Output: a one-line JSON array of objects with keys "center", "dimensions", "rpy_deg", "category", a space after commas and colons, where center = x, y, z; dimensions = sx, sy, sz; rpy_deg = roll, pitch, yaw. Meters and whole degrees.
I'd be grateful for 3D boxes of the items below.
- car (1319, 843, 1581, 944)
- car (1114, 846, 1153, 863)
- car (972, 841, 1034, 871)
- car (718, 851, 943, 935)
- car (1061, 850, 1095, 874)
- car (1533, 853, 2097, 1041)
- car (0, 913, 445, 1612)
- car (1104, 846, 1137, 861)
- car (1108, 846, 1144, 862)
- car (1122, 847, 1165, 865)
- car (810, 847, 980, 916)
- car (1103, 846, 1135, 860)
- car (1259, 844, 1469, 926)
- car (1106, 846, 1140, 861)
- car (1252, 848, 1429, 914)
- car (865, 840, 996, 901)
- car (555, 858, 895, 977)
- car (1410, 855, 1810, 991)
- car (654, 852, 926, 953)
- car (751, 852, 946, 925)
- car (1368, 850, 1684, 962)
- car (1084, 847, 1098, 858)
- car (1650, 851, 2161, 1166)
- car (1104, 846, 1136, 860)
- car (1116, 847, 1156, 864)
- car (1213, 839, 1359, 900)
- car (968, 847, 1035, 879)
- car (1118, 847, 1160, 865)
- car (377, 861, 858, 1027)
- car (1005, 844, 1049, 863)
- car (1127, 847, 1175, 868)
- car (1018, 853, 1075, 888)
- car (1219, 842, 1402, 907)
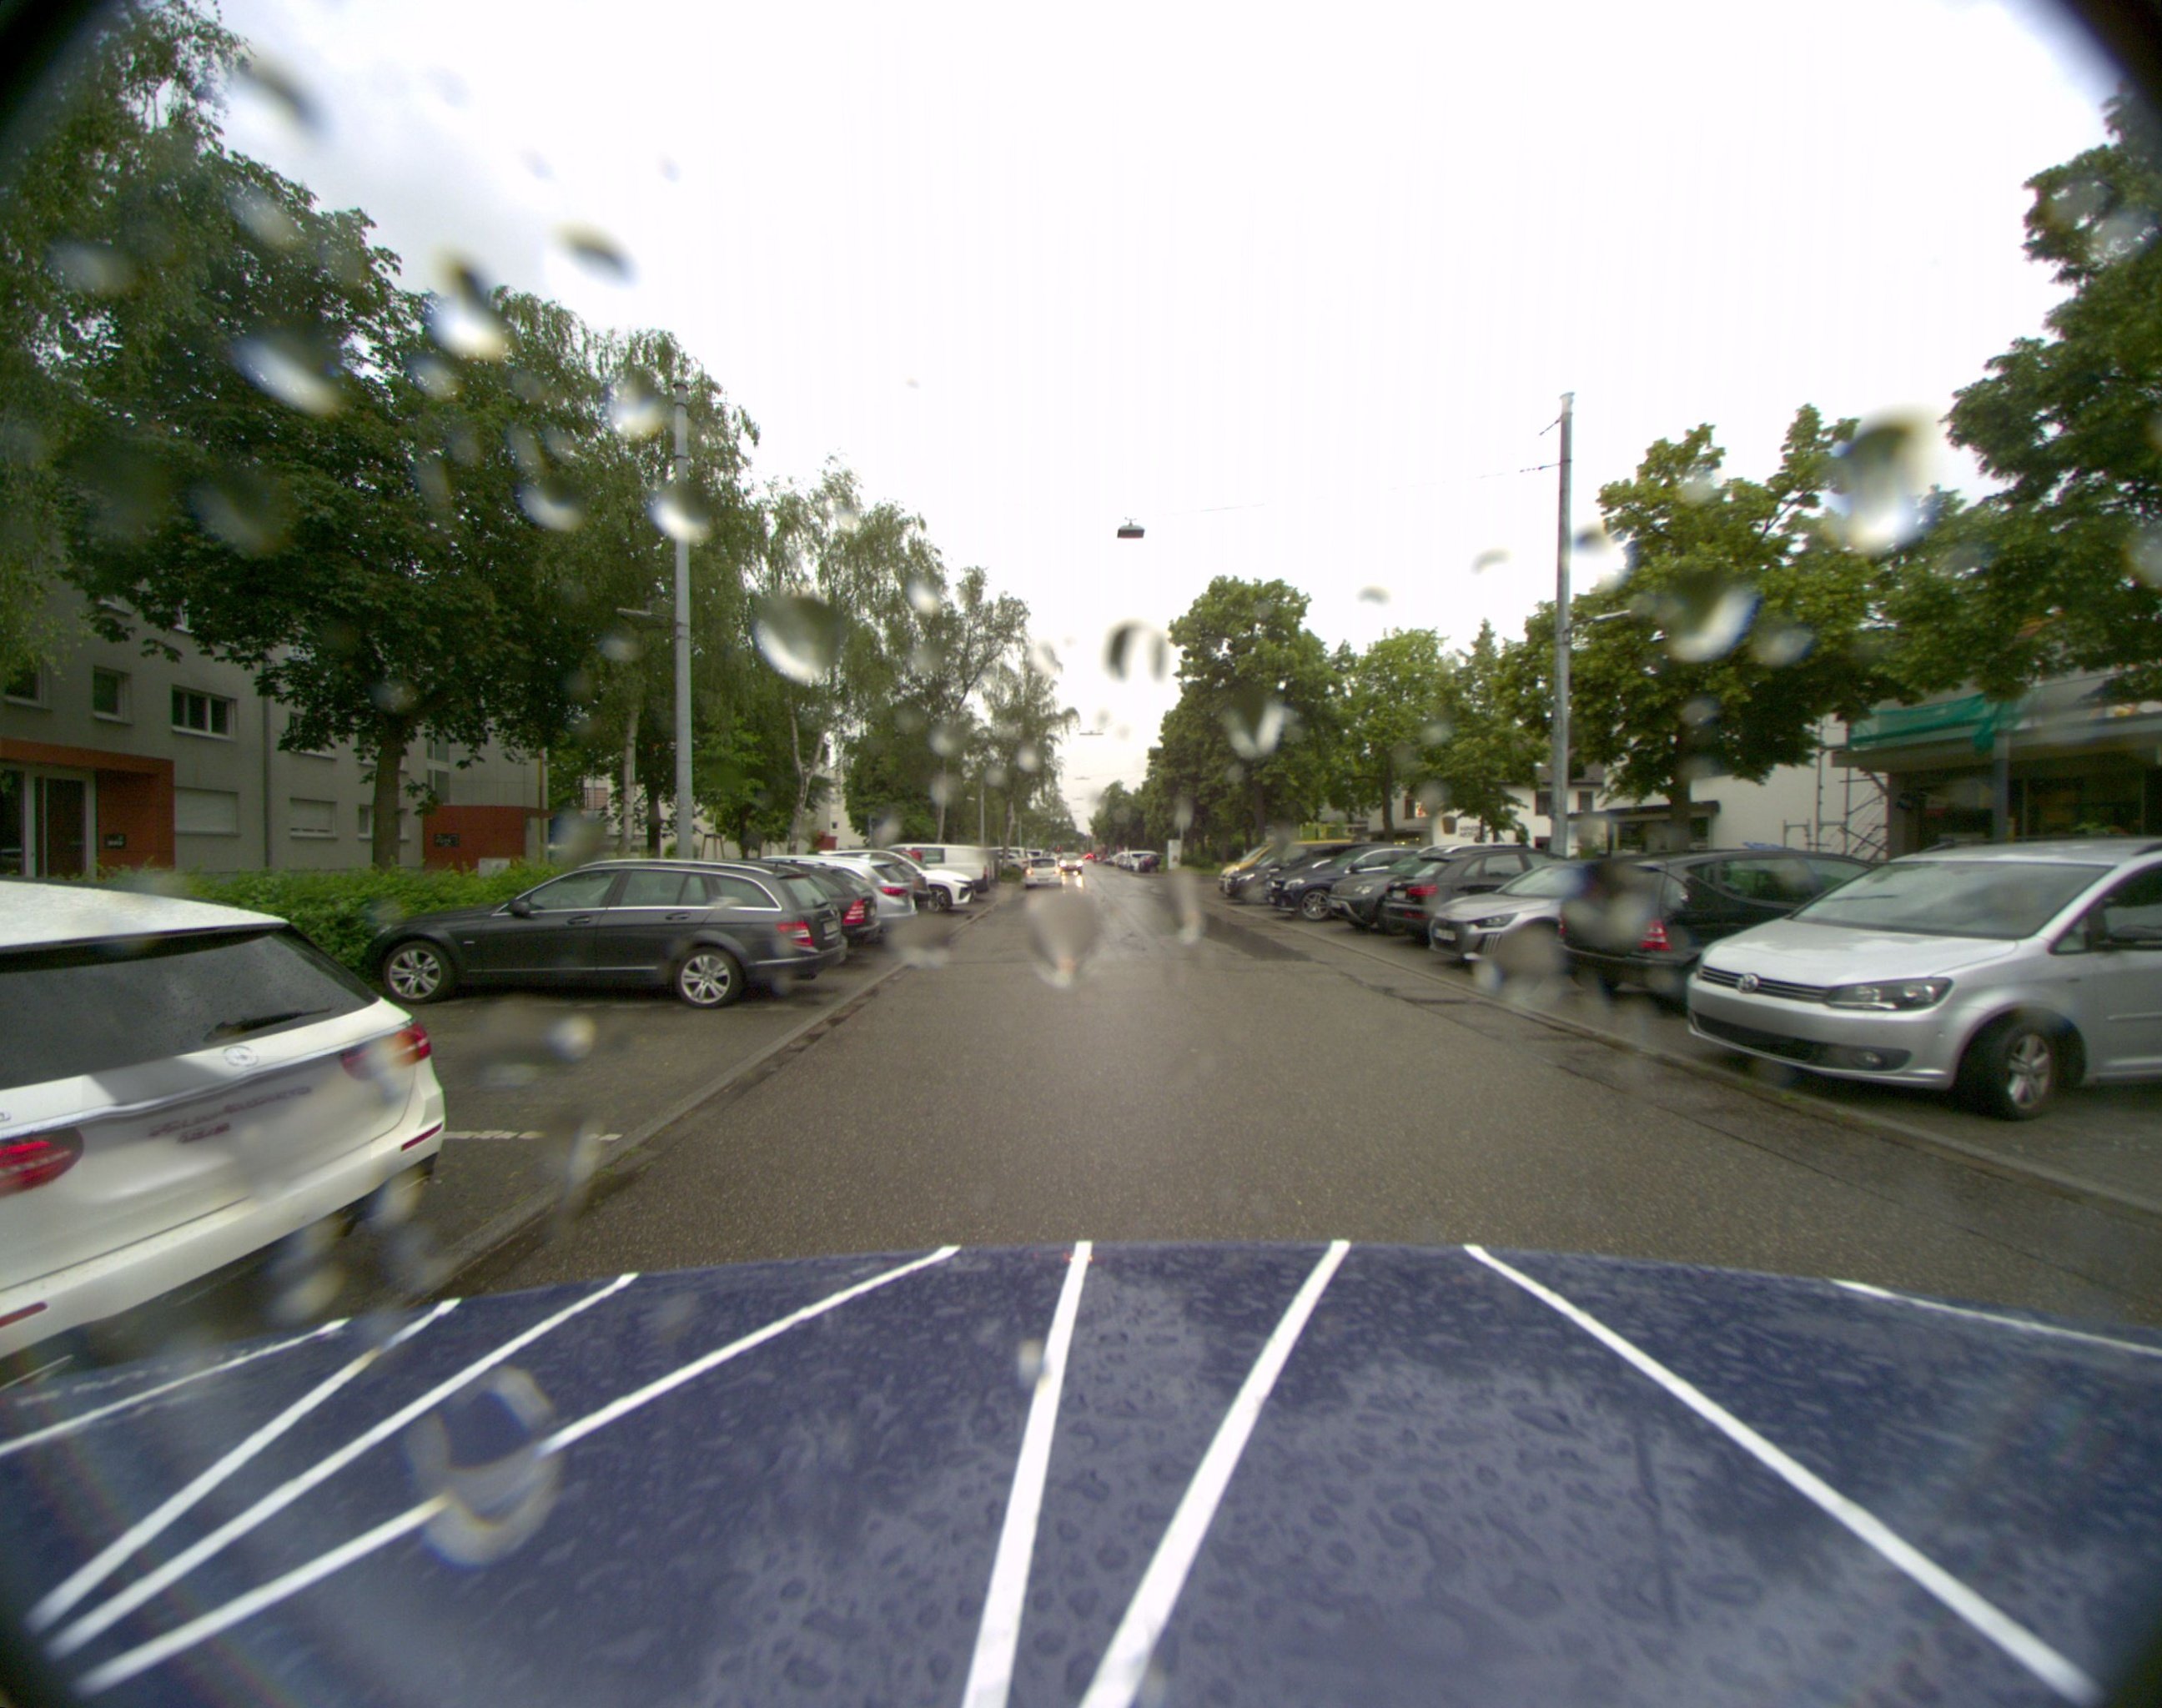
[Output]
[{"center": [7.079, 0.708, 14.842], "dimensions": [4.283, 1.717, 1.715], "rpy_deg": [-2, 1, -2], "category": "car"}, {"center": [5.785, 0.089, 83.750], "dimensions": [3.998, 1.675, 1.999], "rpy_deg": [-2, 1, -3], "category": "car"}, {"center": [-5.531, 0.131, 54.221], "dimensions": [3.995, 1.903, 1.902], "rpy_deg": [-2, 1, 4], "category": "car"}, {"center": [-5.021, 0.768, 15.643], "dimensions": [4.049, 1.488, 1.680], "rpy_deg": [2, 1, -3], "category": "car"}, {"center": [-0.176, 0.599, 59.395], "dimensions": [1.838, 1.677, 4.003], "rpy_deg": [-2, 1, 11], "category": "car"}, {"center": [7.247, 0.844, 7.779], "dimensions": [4.283, 1.556, 1.635], "rpy_deg": [-2, 1, -2], "category": "car"}, {"center": [-4.748, 0.927, 2.057], "dimensions": [4.623, 1.431, 1.680], "rpy_deg": [2, 1, 0], "category": "car"}, {"center": [5.027, -0.069, 96.935], "dimensions": [3.998, 1.675, 1.999], "rpy_deg": [-2, 1, -3], "category": "car"}, {"center": [5.335, 0.013, 90.307], "dimensions": [3.998, 1.675, 1.999], "rpy_deg": [-2, 1, -3], "category": "car"}, {"center": [6.213, 0.178, 76.060], "dimensions": [3.998, 1.675, 1.999], "rpy_deg": [-2, 1, -3], "category": "car"}, {"center": [-5.017, 0.708, 20.895], "dimensions": [4.179, 1.609, 1.680], "rpy_deg": [3, 1, 1], "category": "car"}, {"center": [4.970, -0.098, 99.168], "dimensions": [3.998, 1.675, 1.999], "rpy_deg": [-2, 1, -3], "category": "car"}, {"center": [6.573, 0.686, 17.938], "dimensions": [4.283, 1.717, 1.715], "rpy_deg": [-2, 1, -2], "category": "car"}, {"center": [5.218, -0.041, 94.413], "dimensions": [3.998, 1.675, 1.999], "rpy_deg": [-2, 1, -3], "category": "car"}, {"center": [7.116, 0.709, 21.090], "dimensions": [4.283, 1.617, 1.715], "rpy_deg": [-2, 1, -2], "category": "car"}, {"center": [-5.103, 0.543, 26.181], "dimensions": [4.182, 1.856, 1.679], "rpy_deg": [3, 1, -6], "category": "car"}, {"center": [-4.911, 0.858, 10.919], "dimensions": [4.049, 1.431, 1.680], "rpy_deg": [2, 1, -3], "category": "car"}, {"center": [6.975, 0.856, 10.308], "dimensions": [4.283, 1.523, 1.715], "rpy_deg": [-2, 1, -2], "category": "car"}, {"center": [-4.898, 0.798, 13.224], "dimensions": [4.049, 1.488, 1.680], "rpy_deg": [2, 1, -3], "category": "car"}, {"center": [-5.348, 0.776, 17.839], "dimensions": [4.049, 1.488, 1.680], "rpy_deg": [2, 1, -3], "category": "car"}, {"center": [7.265, 0.797, 12.678], "dimensions": [4.283, 1.586, 1.715], "rpy_deg": [-2, 1, -2], "category": "car"}, {"center": [1.566, -0.258, 119.426], "dimensions": [1.999, 1.617, 3.999], "rpy_deg": [-2, 1, -1], "category": "car"}, {"center": [6.637, 0.863, 5.185], "dimensions": [4.283, 1.625, 1.715], "rpy_deg": [-2, 1, -2], "category": "car"}, {"center": [5.202, -0.180, 101.608], "dimensions": [3.998, 1.675, 1.999], "rpy_deg": [-2, 1, -3], "category": "car"}, {"center": [5.858, 0.119, 81.193], "dimensions": [3.998, 1.675, 1.999], "rpy_deg": [-2, 1, -3], "category": "car"}, {"center": [7.186, 0.509, 26.900], "dimensions": [4.657, 1.947, 1.715], "rpy_deg": [-2, 1, -2], "category": "car"}, {"center": [-5.111, 0.585, 49.334], "dimensions": [3.995, 1.903, 1.902], "rpy_deg": [-2, 1, 4], "category": "car"}, {"center": [5.970, 0.151, 78.619], "dimensions": [3.998, 1.675, 1.999], "rpy_deg": [-2, 1, -3], "category": "car"}, {"center": [-4.660, 0.885, 8.121], "dimensions": [4.049, 1.431, 1.680], "rpy_deg": [2, 1, -3], "category": "car"}, {"center": [-5.279, -0.082, 75.030], "dimensions": [3.995, 1.670, 1.902], "rpy_deg": [-2, 1, 4], "category": "car"}, {"center": [6.305, 0.280, 68.601], "dimensions": [3.998, 1.675, 1.999], "rpy_deg": [-2, 1, -3], "category": "car"}, {"center": [-1.565, 0.746, 36.296], "dimensions": [1.997, 1.446, 4.259], "rpy_deg": [-2, 1, 6], "category": "car"}, {"center": [7.114, 0.606, 23.852], "dimensions": [5.177, 1.789, 1.715], "rpy_deg": [-2, 1, -2], "category": "car"}]
